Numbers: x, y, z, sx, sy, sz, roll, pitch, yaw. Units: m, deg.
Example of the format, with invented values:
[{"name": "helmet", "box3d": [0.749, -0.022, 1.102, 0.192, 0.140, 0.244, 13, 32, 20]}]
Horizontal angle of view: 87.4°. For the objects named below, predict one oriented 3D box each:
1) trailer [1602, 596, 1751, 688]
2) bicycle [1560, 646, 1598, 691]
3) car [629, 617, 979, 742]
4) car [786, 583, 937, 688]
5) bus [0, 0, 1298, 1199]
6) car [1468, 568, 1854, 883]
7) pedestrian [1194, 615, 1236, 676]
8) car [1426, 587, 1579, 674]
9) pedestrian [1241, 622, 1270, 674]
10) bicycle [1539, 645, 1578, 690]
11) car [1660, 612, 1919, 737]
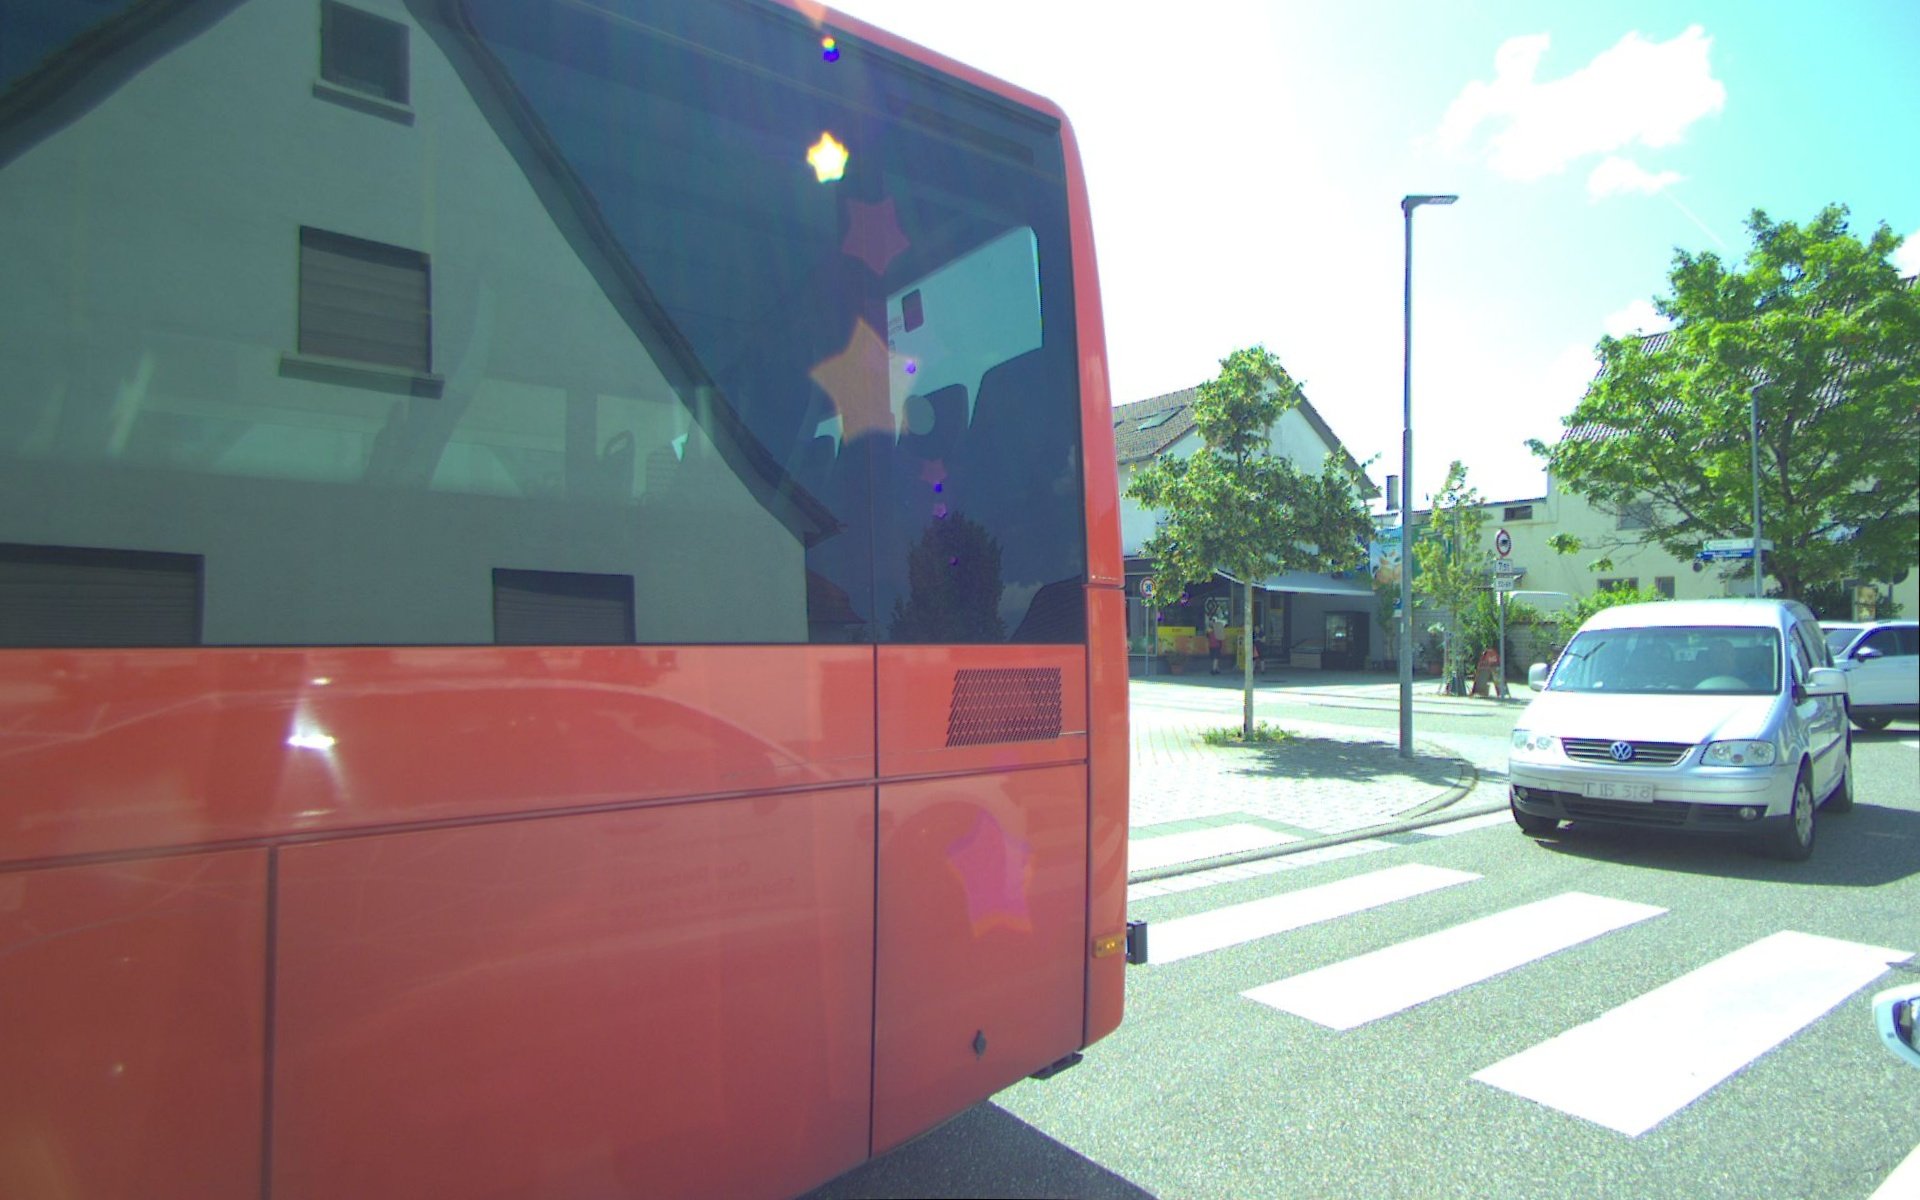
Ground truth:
[{"name": "trailer", "box3d": [19.943, 1.122, 27.904, 4.475, 2.366, 1.868, 1, 0, -33]}, {"name": "bicycle", "box3d": [15.627, 1.718, 25.345, 0.396, 1.017, 1.970, -1, 0, 44]}, {"name": "car", "box3d": [-2.058, 1.026, 13.860, 4.433, 1.470, 1.818, 2, -2, -35]}, {"name": "car", "box3d": [-2.865, 0.964, 27.772, 2.087, 2.606, 5.641, 1, -2, -29]}, {"name": "bus", "box3d": [-4.688, -0.168, 0.438, 11.903, 3.274, 2.610, 2, -4, -35]}, {"name": "car", "box3d": [5.822, 0.834, 8.096, 4.413, 1.845, 1.754, 2, -4, -45]}, {"name": "pedestrian", "box3d": [7.933, 1.403, 31.243, 1.013, 1.850, 0.775, -1, 0, -35]}, {"name": "car", "box3d": [17.666, 0.978, 32.616, 5.587, 2.601, 1.925, 1, 0, -33]}, {"name": "pedestrian", "box3d": [9.272, 1.496, 31.533, 0.735, 1.610, 0.881, -1, 0, 10]}, {"name": "bicycle", "box3d": [15.299, 1.709, 25.648, 0.396, 1.017, 1.970, -1, 0, 44]}, {"name": "car", "box3d": [13.333, 1.083, 15.140, 4.458, 1.732, 1.870, 1, -2, -7]}]
